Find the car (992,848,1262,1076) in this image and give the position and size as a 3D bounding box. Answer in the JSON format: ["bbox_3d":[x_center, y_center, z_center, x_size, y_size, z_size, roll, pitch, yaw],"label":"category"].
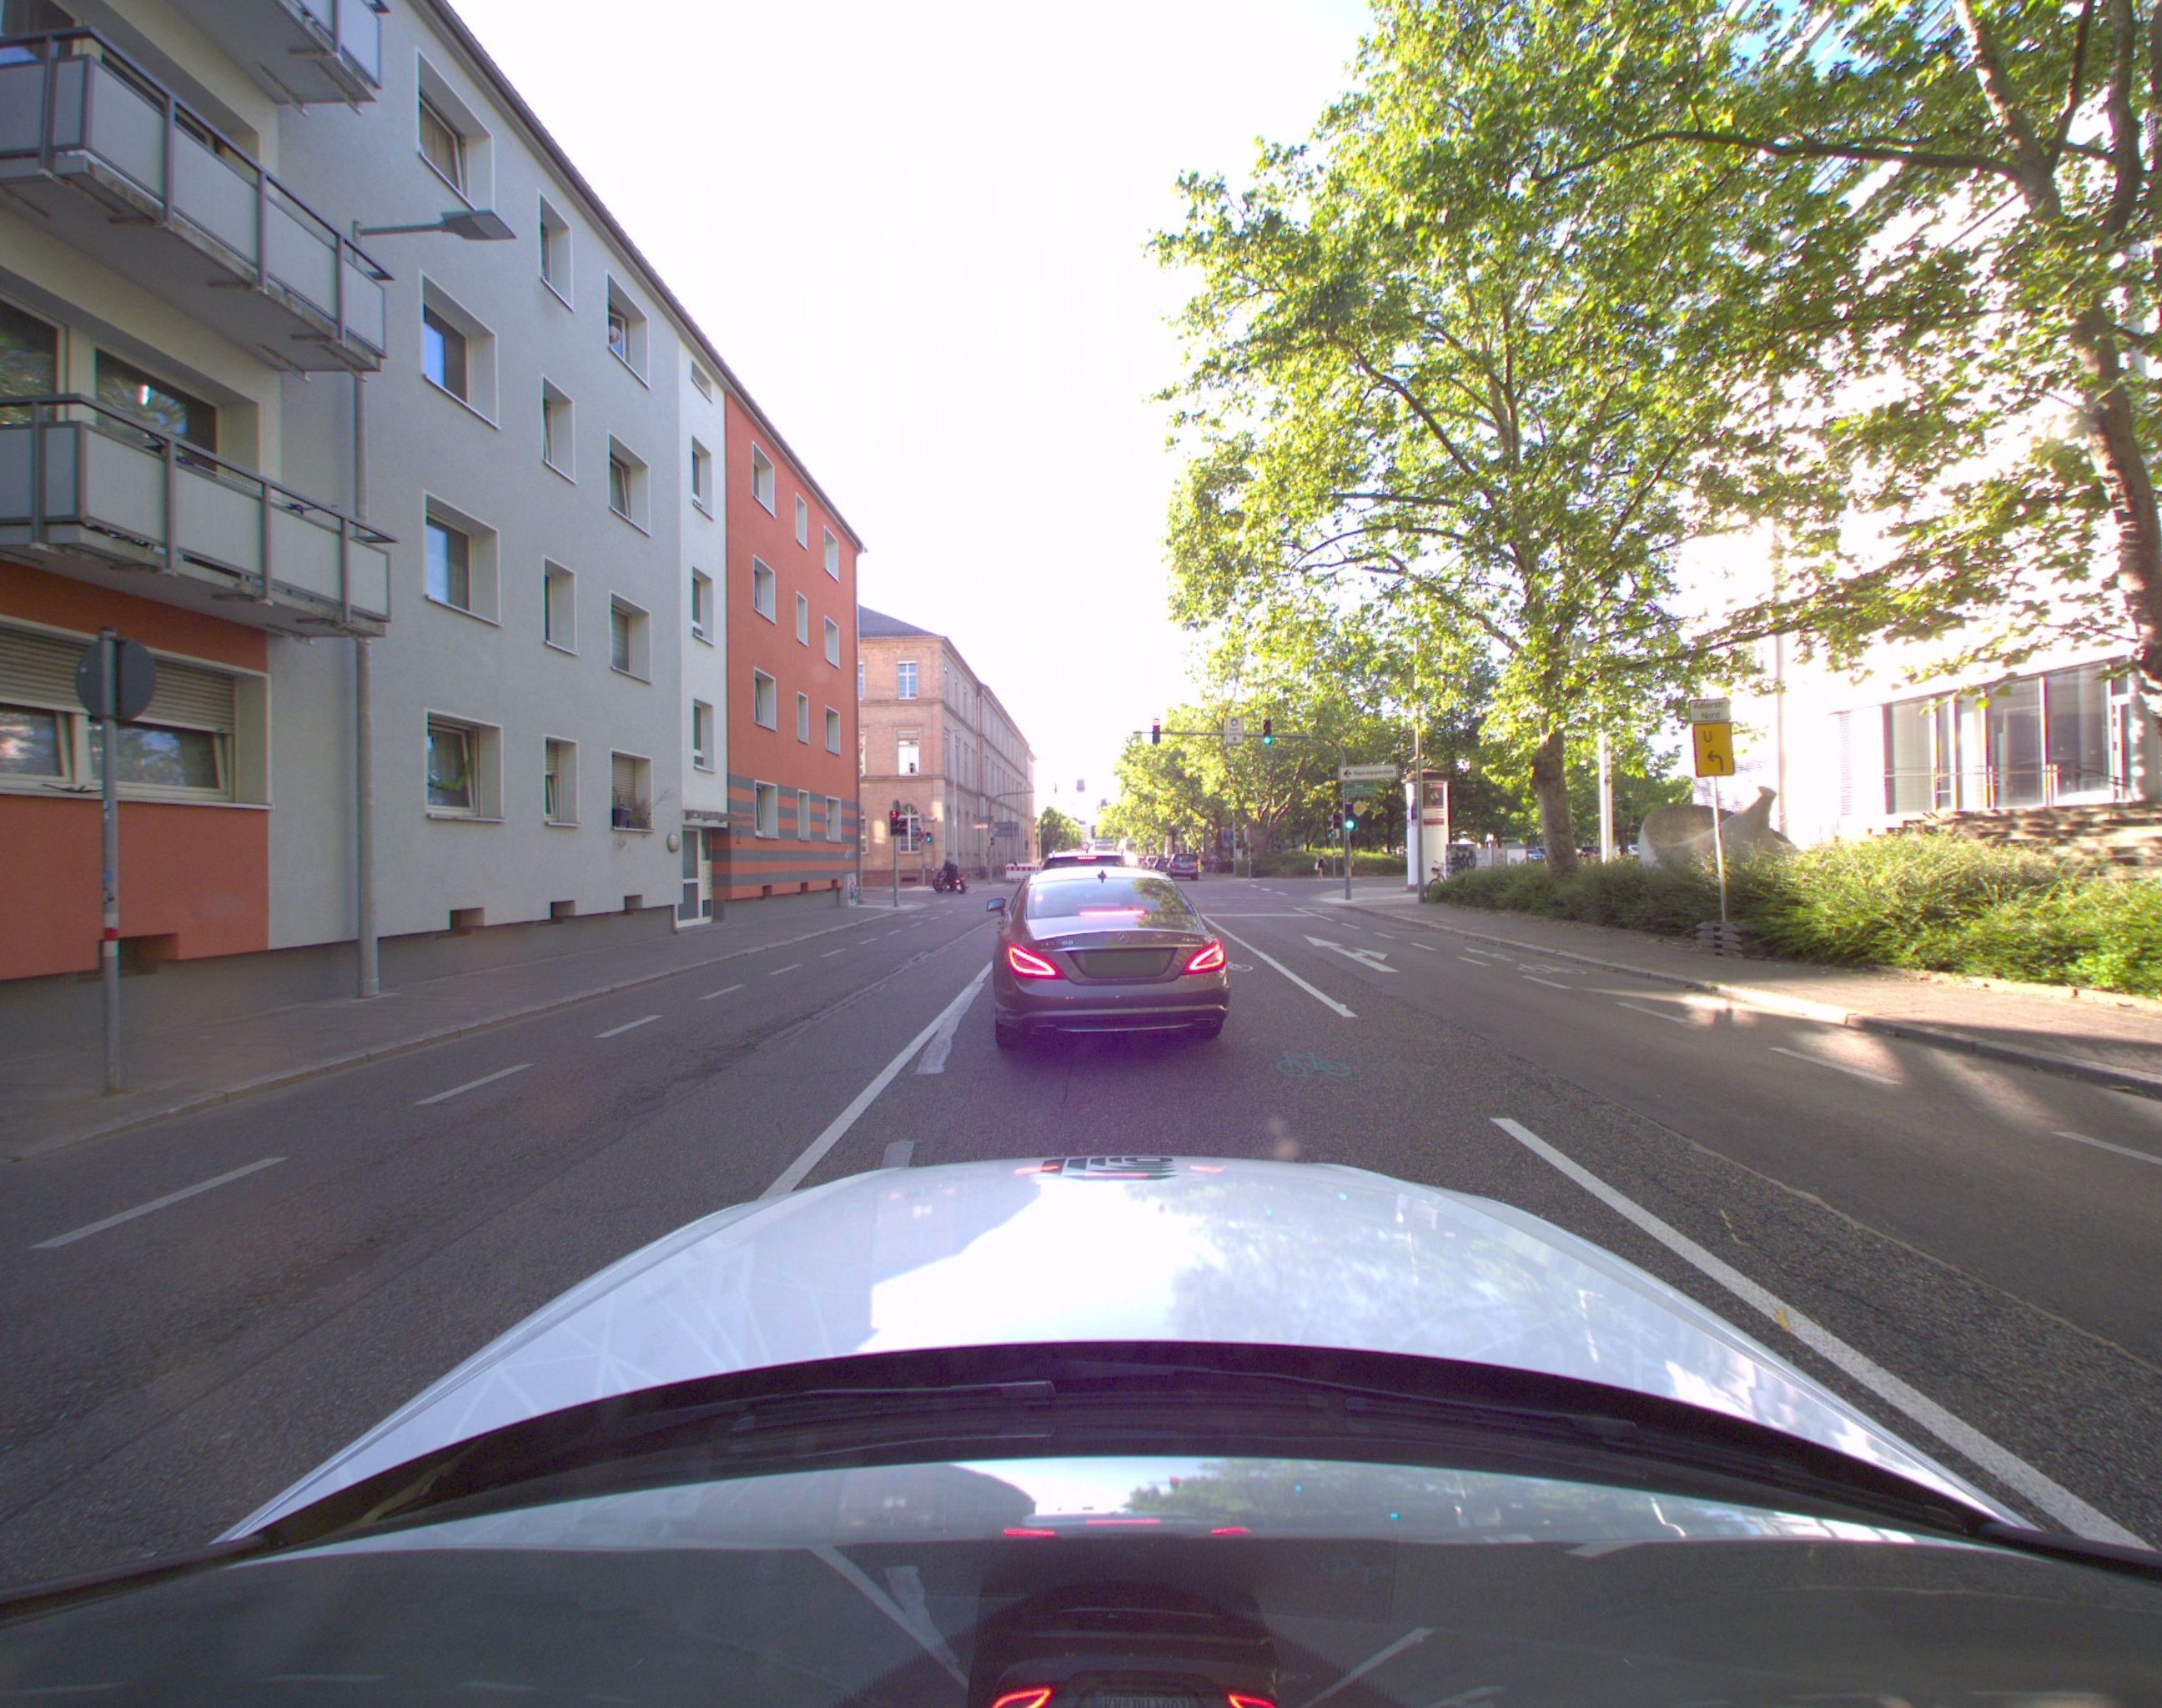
[{"bbox_3d":[0.146,0.734,7.589,1.859,1.519,3.992,-1,0,-6],"label":"car"}]

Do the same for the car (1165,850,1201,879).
[{"bbox_3d":[6.566,0.666,52.822,1.854,1.764,4.483,-1,0,2],"label":"car"}]

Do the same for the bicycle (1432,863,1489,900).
[{"bbox_3d":[10.986,0.779,23.562,1.895,1.028,0.635,0,-1,-36],"label":"bicycle"}]

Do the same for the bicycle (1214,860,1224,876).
[{"bbox_3d":[10.447,1.057,61.696,0.480,1.202,1.607,0,-1,2],"label":"bicycle"}]

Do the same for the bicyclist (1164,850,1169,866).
[{"bbox_3d":[11.029,0.492,104.934,0.593,2.039,0.566,0,-1,-2],"label":"bicyclist"}]

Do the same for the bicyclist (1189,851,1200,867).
[{"bbox_3d":[9.826,0.432,70.357,0.726,1.398,0.703,-1,-1,30],"label":"bicyclist"}]

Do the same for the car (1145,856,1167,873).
[{"bbox_3d":[6.699,0.906,72.670,1.698,1.519,4.002,-1,0,2],"label":"car"}]

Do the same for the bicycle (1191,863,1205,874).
[{"bbox_3d":[9.603,1.191,66.723,0.825,0.924,2.618,0,-1,2],"label":"bicycle"}]

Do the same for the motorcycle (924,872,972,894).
[{"bbox_3d":[-5.730,1.240,35.082,2.033,0.892,0.760,-1,-1,31],"label":"motorcycle"}]

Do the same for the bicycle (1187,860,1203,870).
[{"bbox_3d":[9.850,0.943,70.369,0.716,0.791,1.940,-1,-1,30],"label":"bicycle"}]

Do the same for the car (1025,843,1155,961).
[{"bbox_3d":[0.194,0.693,13.723,1.854,1.682,4.002,-1,0,2],"label":"car"}]

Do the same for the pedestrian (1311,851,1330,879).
[{"bbox_3d":[13.109,0.590,44.670,0.636,1.545,0.906,0,-1,-12],"label":"pedestrian"}]

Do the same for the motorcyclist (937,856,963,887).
[{"bbox_3d":[-5.619,0.740,35.014,0.792,1.294,0.794,-1,-1,30],"label":"motorcyclist"}]

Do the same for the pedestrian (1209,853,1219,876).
[{"bbox_3d":[10.049,0.777,61.703,0.634,1.760,0.698,0,-1,-2],"label":"pedestrian"}]

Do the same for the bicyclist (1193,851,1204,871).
[{"bbox_3d":[9.592,0.596,66.614,0.822,1.618,0.958,0,-1,1],"label":"bicyclist"}]

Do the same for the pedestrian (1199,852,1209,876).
[{"bbox_3d":[9.355,0.753,61.913,0.634,1.797,0.698,0,-1,-2],"label":"pedestrian"}]
